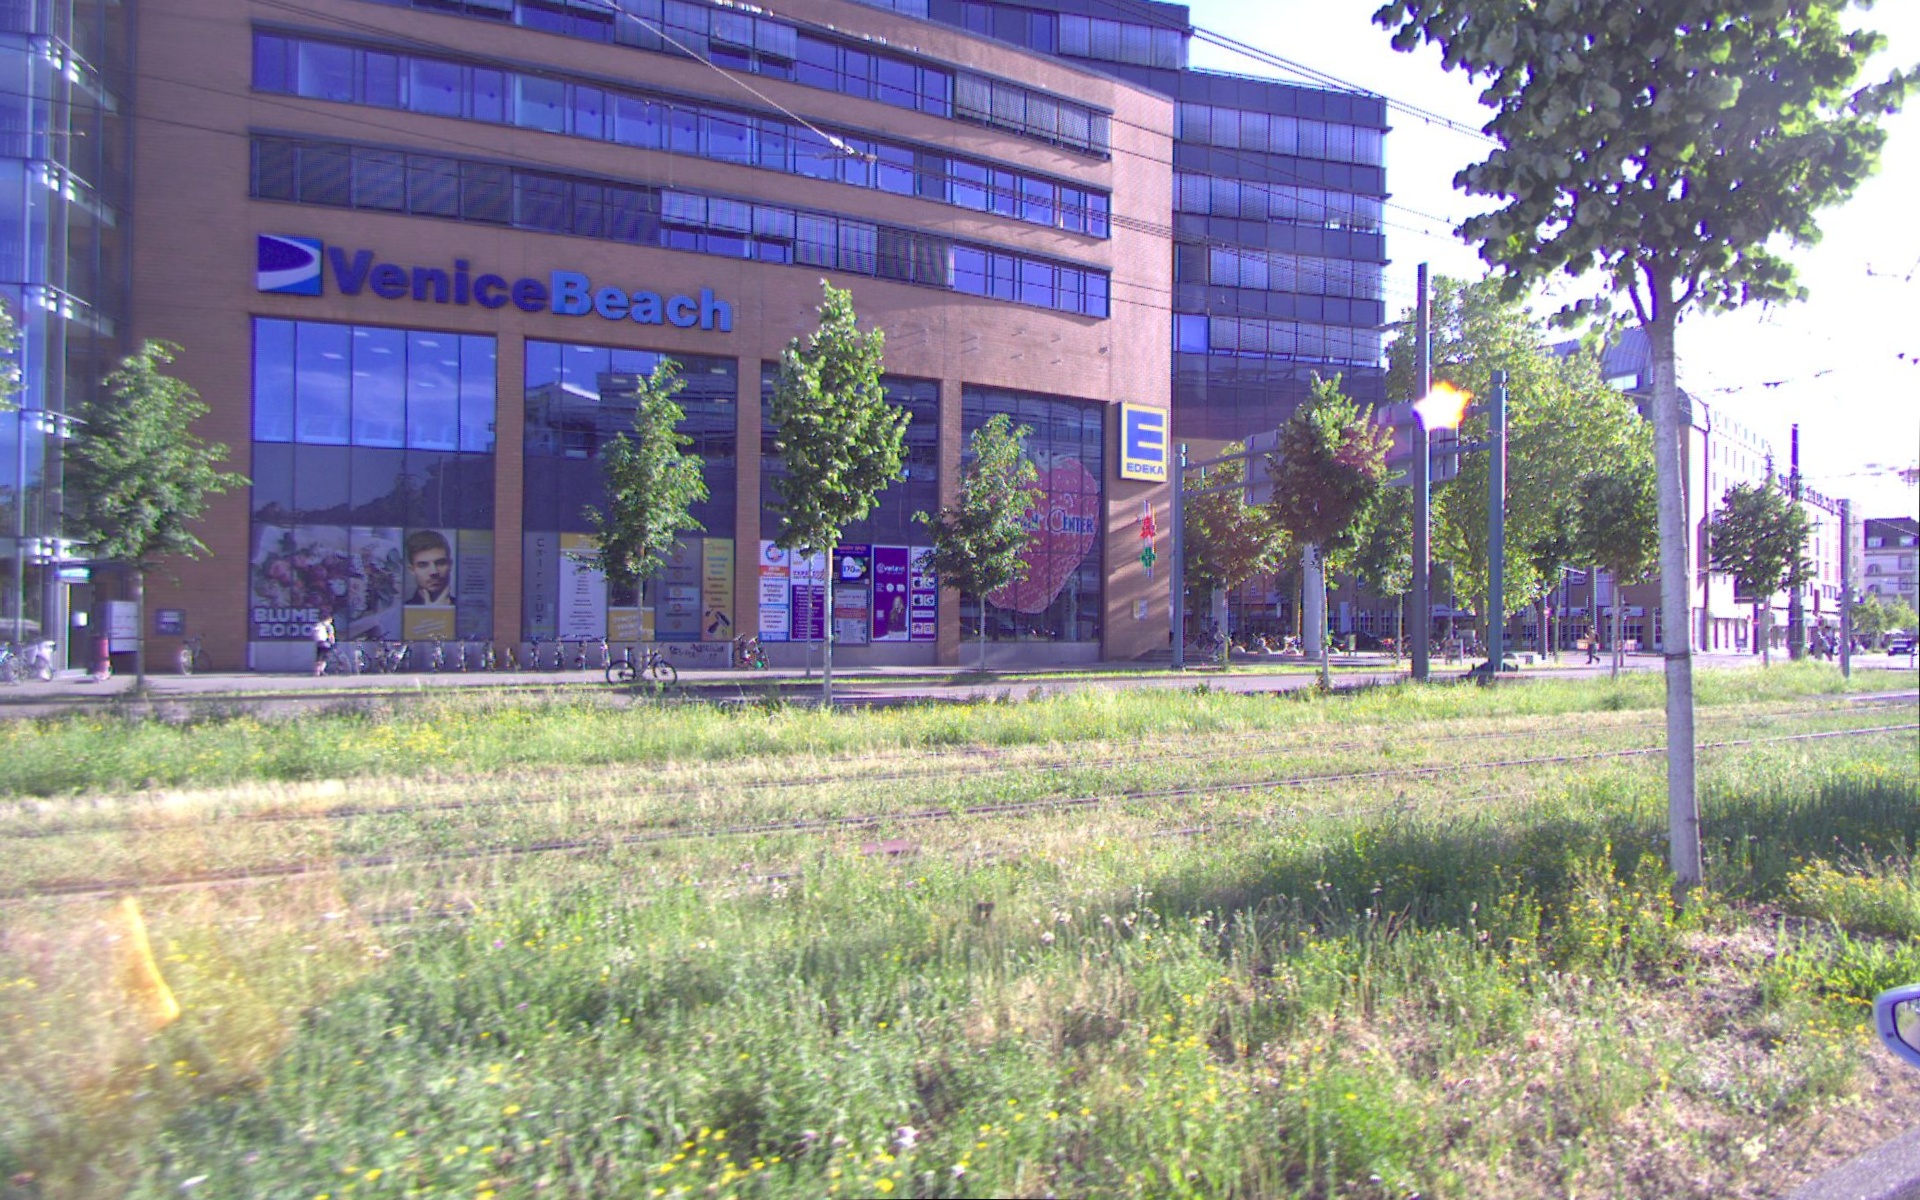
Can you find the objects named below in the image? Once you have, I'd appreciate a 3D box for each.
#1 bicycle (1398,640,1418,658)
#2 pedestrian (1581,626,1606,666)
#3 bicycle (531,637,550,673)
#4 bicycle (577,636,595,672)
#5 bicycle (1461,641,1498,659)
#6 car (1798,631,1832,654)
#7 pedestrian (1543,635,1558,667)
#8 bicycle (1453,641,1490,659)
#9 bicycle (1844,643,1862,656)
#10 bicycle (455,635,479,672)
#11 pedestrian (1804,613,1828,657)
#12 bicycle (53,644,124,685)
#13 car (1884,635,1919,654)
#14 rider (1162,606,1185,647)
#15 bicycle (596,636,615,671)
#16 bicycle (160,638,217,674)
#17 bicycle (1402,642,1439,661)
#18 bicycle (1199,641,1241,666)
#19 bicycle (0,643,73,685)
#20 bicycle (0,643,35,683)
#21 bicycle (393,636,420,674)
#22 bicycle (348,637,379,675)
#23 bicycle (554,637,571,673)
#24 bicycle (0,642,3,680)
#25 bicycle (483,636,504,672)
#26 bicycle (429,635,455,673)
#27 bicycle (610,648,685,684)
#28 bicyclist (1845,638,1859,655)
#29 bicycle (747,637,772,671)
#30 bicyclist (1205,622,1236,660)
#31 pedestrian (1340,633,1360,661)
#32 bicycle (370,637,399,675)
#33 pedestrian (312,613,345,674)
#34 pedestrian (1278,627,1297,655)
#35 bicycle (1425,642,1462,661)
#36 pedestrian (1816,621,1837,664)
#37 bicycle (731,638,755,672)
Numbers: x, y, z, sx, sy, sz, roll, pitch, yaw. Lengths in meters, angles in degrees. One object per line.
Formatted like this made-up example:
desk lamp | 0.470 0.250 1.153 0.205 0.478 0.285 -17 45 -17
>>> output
bicycle | 25.248 2.737 56.590 0.530 0.964 1.772 1 -1 7
pedestrian | 32.463 2.364 51.498 0.826 2.040 0.730 1 0 -25
bicycle | -12.909 1.674 30.951 0.483 1.063 1.762 1 -1 -22
bicycle | -11.706 1.674 31.413 0.483 1.063 1.762 1 -1 -22
bicycle | 28.965 2.765 56.034 0.536 0.964 1.753 1 -1 -36
car | 79.174 3.936 92.989 3.972 2.040 1.975 2 -2 -43
pedestrian | 39.207 3.378 66.695 0.669 2.040 0.663 1 -1 -29
bicycle | 28.329 2.747 55.635 0.536 0.964 1.753 1 -1 -36
bicycle | 77.908 4.343 87.593 2.900 1.099 0.645 2 -2 -38
bicycle | -14.957 1.620 30.489 0.483 1.063 1.762 1 -1 -22
pedestrian | 36.293 1.481 42.594 0.656 1.854 0.627 1 -1 -36
bicycle | -21.488 1.581 24.804 0.555 0.938 1.767 1 -1 -13
car | 84.063 3.969 89.706 4.705 1.617 1.975 2 -2 -43
rider | 9.637 1.213 45.377 0.704 1.826 0.715 1 -1 -29
bicycle | -11.313 1.687 32.050 0.483 1.063 1.762 1 -1 -22
bicycle | -21.448 1.558 27.955 0.555 0.938 1.767 1 -1 -13
bicycle | 25.196 2.801 54.981 0.538 0.964 1.748 2 -2 -44
bicycle | 10.284 2.104 39.678 1.868 0.922 0.495 1 -1 -33
bicycle | -22.548 1.542 24.507 0.555 0.938 1.767 1 -1 -13
bicycle | -23.330 1.521 24.320 0.555 0.938 1.767 1 -1 -13
bicycle | -16.482 1.624 29.933 0.483 1.063 1.762 1 -1 -22
bicycle | -17.488 1.635 29.485 0.483 1.063 1.762 1 -1 -22
bicycle | -12.345 1.690 31.198 0.483 1.063 1.762 1 -1 -22
bicycle | -23.976 1.504 24.141 0.555 0.938 1.767 1 -1 -13
bicycle | -14.266 1.639 30.735 0.483 1.063 1.762 1 -1 -22
bicycle | -15.563 1.603 30.206 0.483 1.063 1.762 1 -1 -22
bicycle | -7.932 1.668 25.531 1.750 0.880 0.461 1 -1 -30
bicyclist | 77.453 4.032 87.232 0.942 1.393 0.752 1 -1 -37
bicycle | -6.701 1.790 33.536 0.483 1.063 1.762 1 -1 -22
bicyclist | 10.300 1.617 39.698 1.005 1.484 0.674 1 -1 -33
pedestrian | 23.431 2.833 60.368 0.826 1.619 0.730 1 0 -25
bicycle | -17.010 1.648 29.698 0.483 1.063 1.762 1 -1 -22
pedestrian | -17.868 1.216 28.431 0.666 1.691 0.743 1 -1 -24
pedestrian | 19.819 2.503 60.780 0.826 1.667 0.730 1 -1 -25
bicycle | 26.530 2.824 55.133 1.742 0.964 0.540 0 -1 35
pedestrian | 37.083 1.803 42.988 0.656 1.841 0.559 1 -1 -36
bicycle | -7.204 1.798 33.290 0.483 1.063 1.762 1 -1 -22
